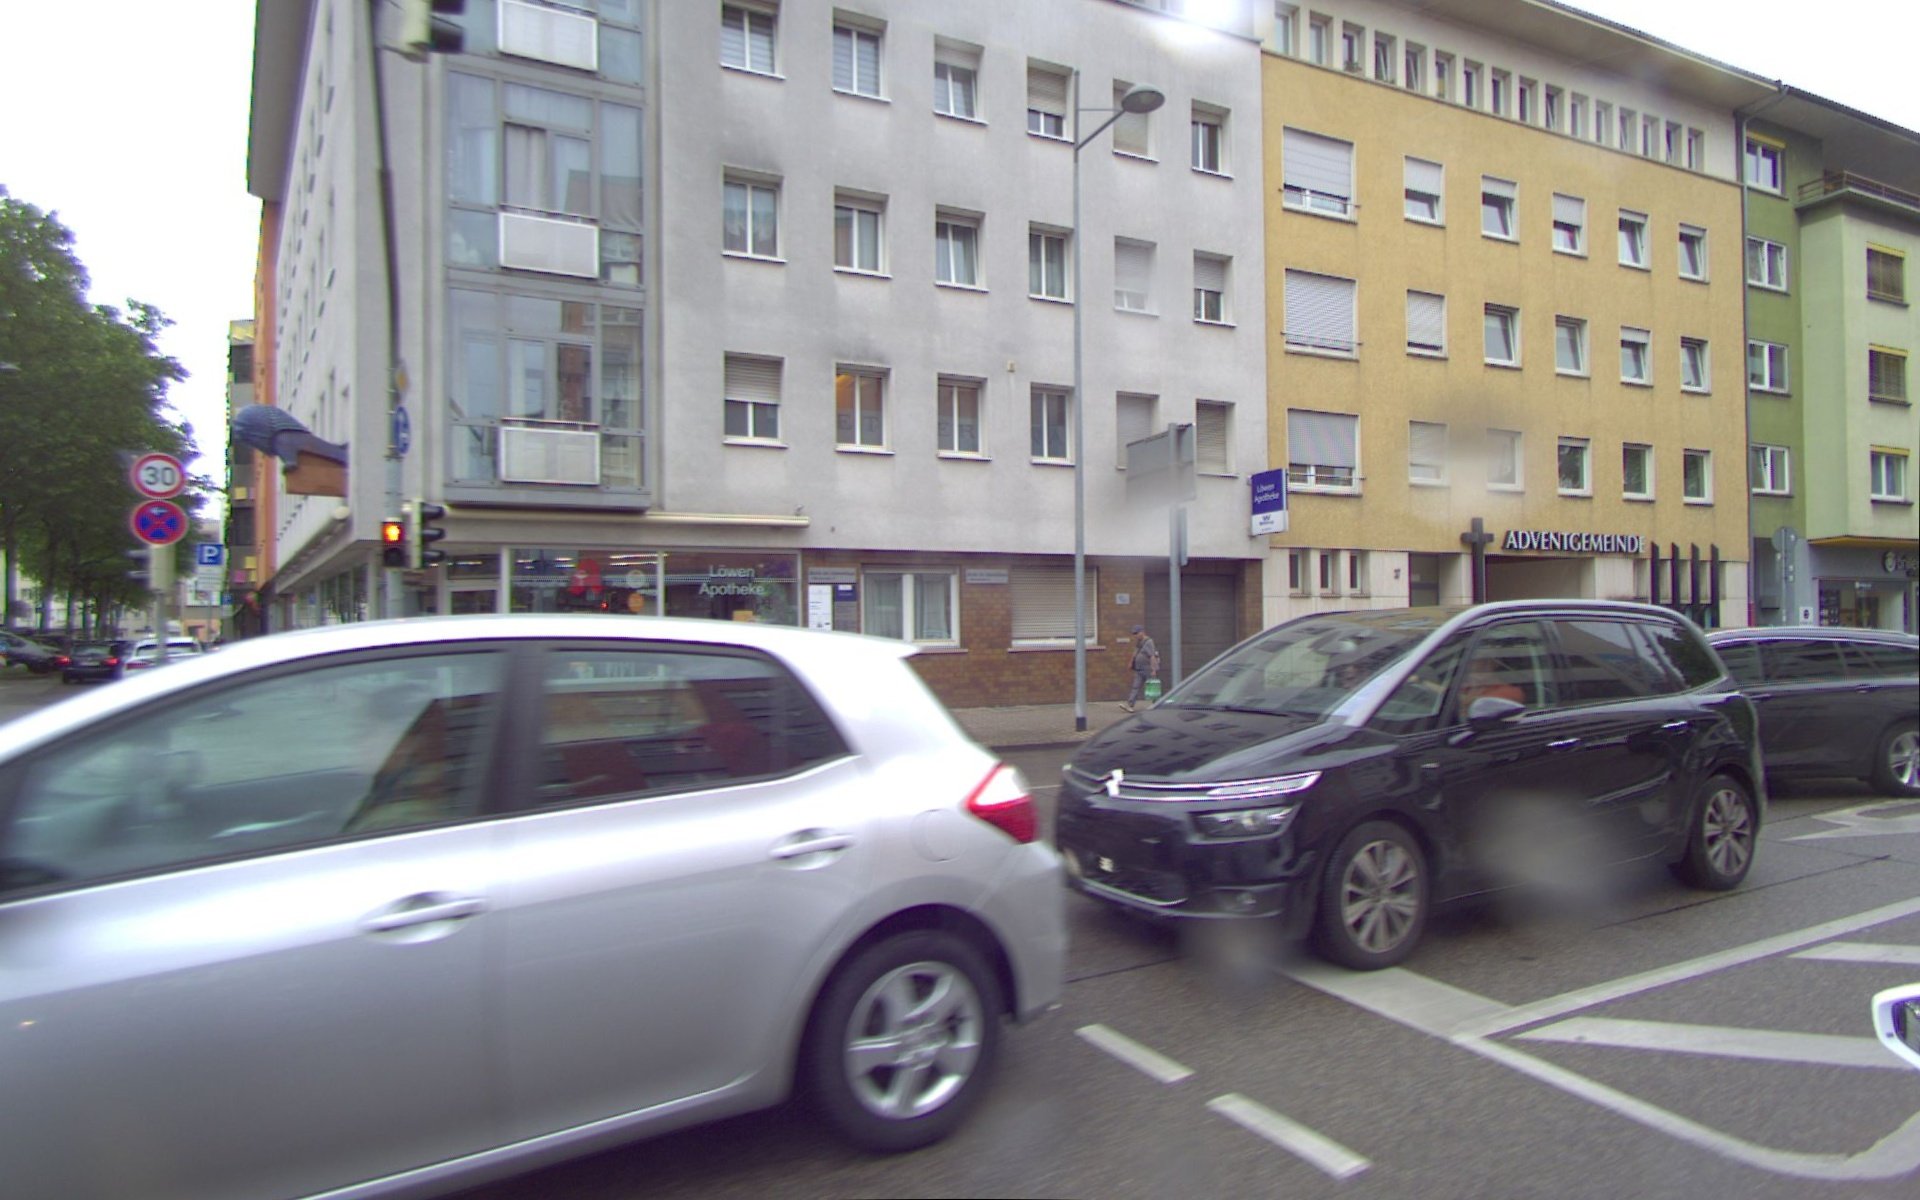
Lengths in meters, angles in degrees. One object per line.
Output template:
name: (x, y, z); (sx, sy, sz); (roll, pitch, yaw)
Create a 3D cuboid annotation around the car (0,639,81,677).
car: (-46.909, 2.917, 50.369); (3.959, 1.684, 1.873); (-2, 1, -35)

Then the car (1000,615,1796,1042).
car: (2.558, 0.953, 5.689); (4.375, 1.629, 1.814); (1, -3, -28)

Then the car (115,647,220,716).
car: (-21.182, 2.116, 26.992); (2.027, 1.652, 4.296); (1, -2, -36)

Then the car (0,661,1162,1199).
car: (-1.581, 0.986, 3.011); (4.087, 1.547, 1.925); (2, -3, -31)

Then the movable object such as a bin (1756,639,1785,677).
movable object such as a bin: (22.084, 1.571, 27.366); (0.537, 1.020, 0.398); (0, -1, -24)

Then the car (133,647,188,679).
car: (-40.894, 3.207, 51.464); (1.833, 1.491, 3.803); (1, -2, -33)

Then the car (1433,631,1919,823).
car: (6.987, 1.083, 9.325); (4.314, 1.452, 1.826); (-2, -2, -4)

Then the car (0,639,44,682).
car: (-40.541, 2.554, 41.293); (3.959, 1.684, 1.873); (-2, 1, -35)

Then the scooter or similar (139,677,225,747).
scooter or similar: (-13.803, 1.967, 17.832); (0.360, 1.109, 1.129); (-3, -1, 42)

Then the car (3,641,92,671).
car: (-59.012, 3.596, 65.050); (3.959, 1.684, 1.873); (-2, 1, -35)

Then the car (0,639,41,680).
car: (-44.282, 2.746, 45.258); (3.959, 1.684, 1.873); (-2, 1, -35)

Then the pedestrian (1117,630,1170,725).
pedestrian: (3.250, 1.354, 17.790); (0.642, 1.602, 0.685); (0, 1, -23)

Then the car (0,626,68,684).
car: (-42.105, 2.430, 43.615); (4.720, 2.337, 1.873); (-2, 1, -35)
